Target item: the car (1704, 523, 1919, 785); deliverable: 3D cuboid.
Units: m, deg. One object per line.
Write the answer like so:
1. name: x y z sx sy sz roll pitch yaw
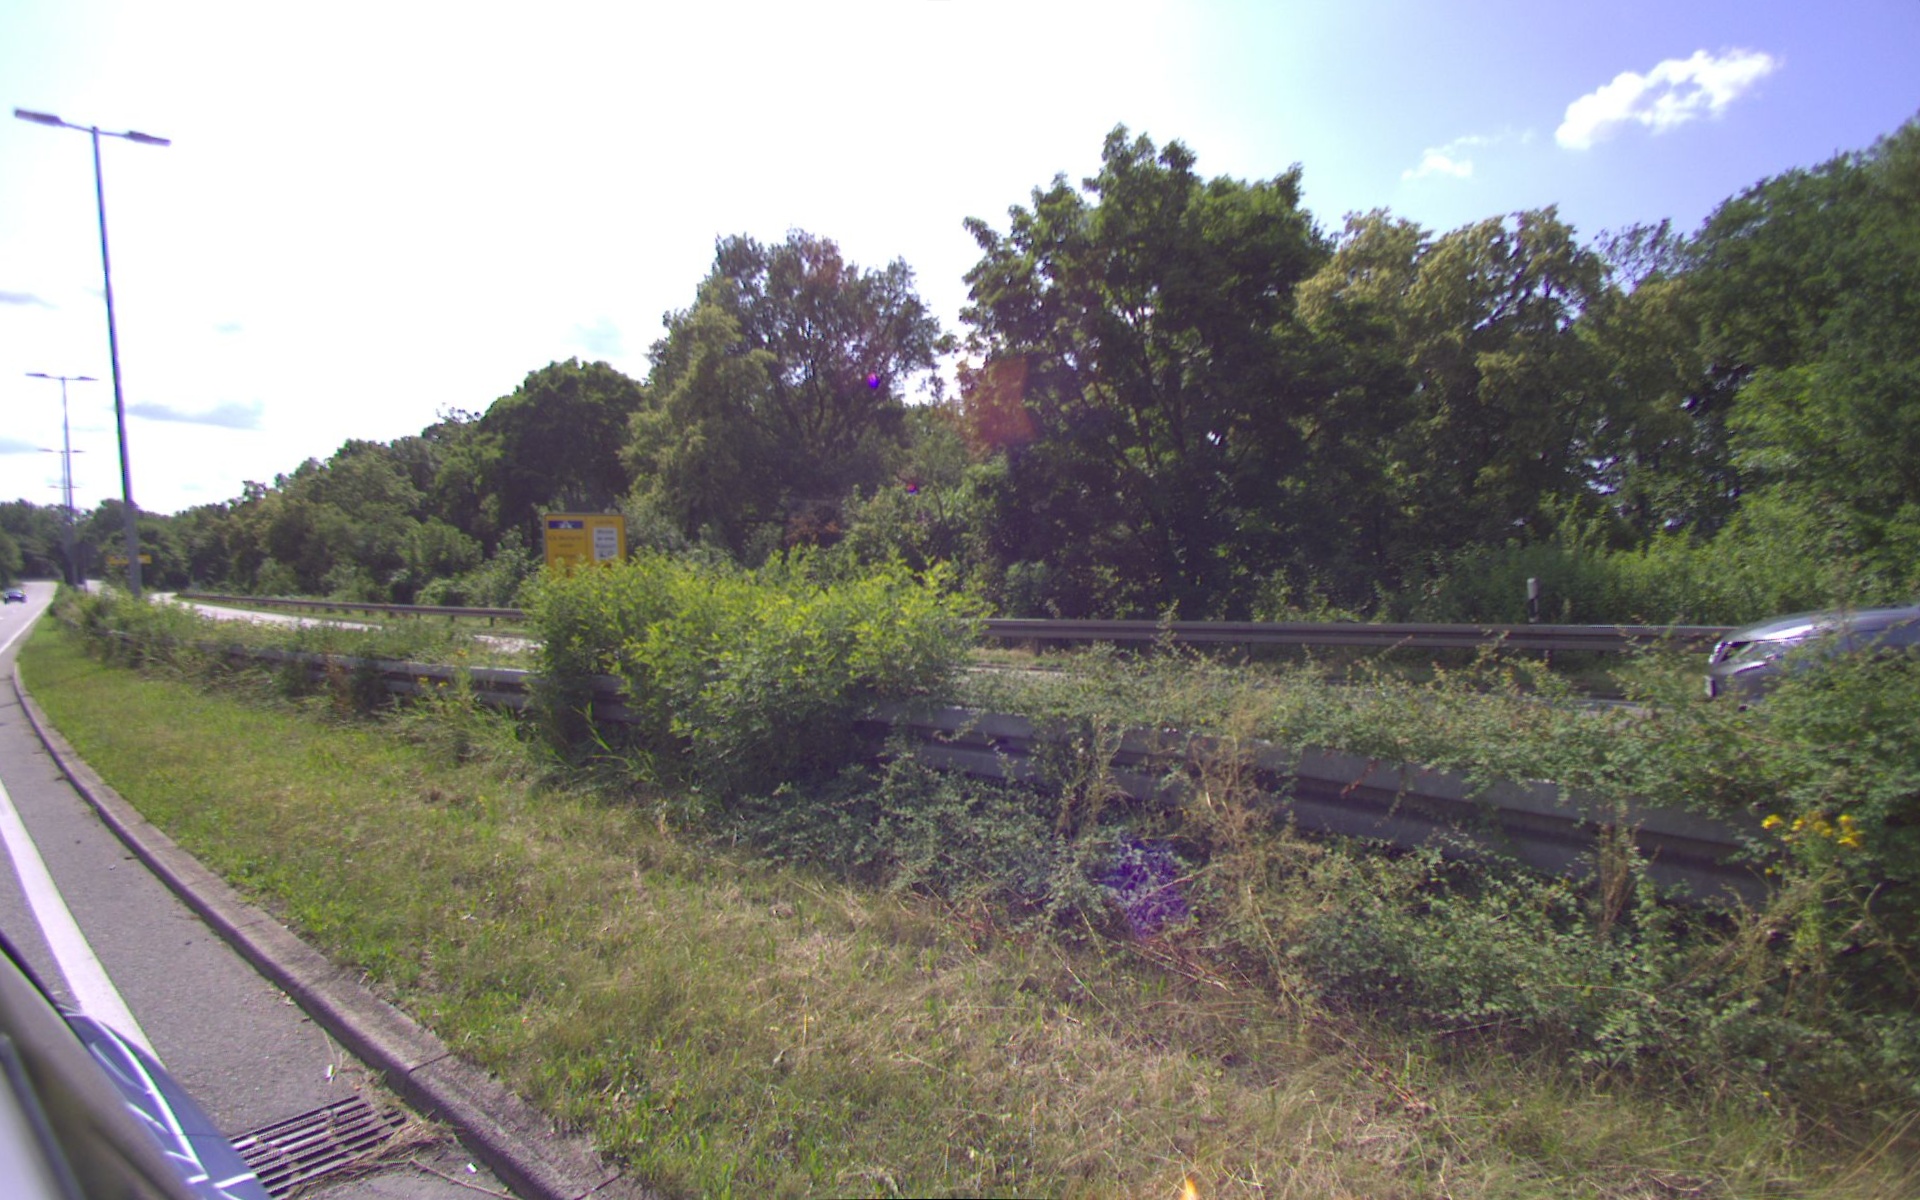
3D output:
1. car: 7.367 0.307 6.251 4.266 1.598 1.698 -1 -1 31

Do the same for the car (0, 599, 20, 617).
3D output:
1. car: -115.081 0.959 122.360 1.948 2.029 4.006 -1 1 -41
